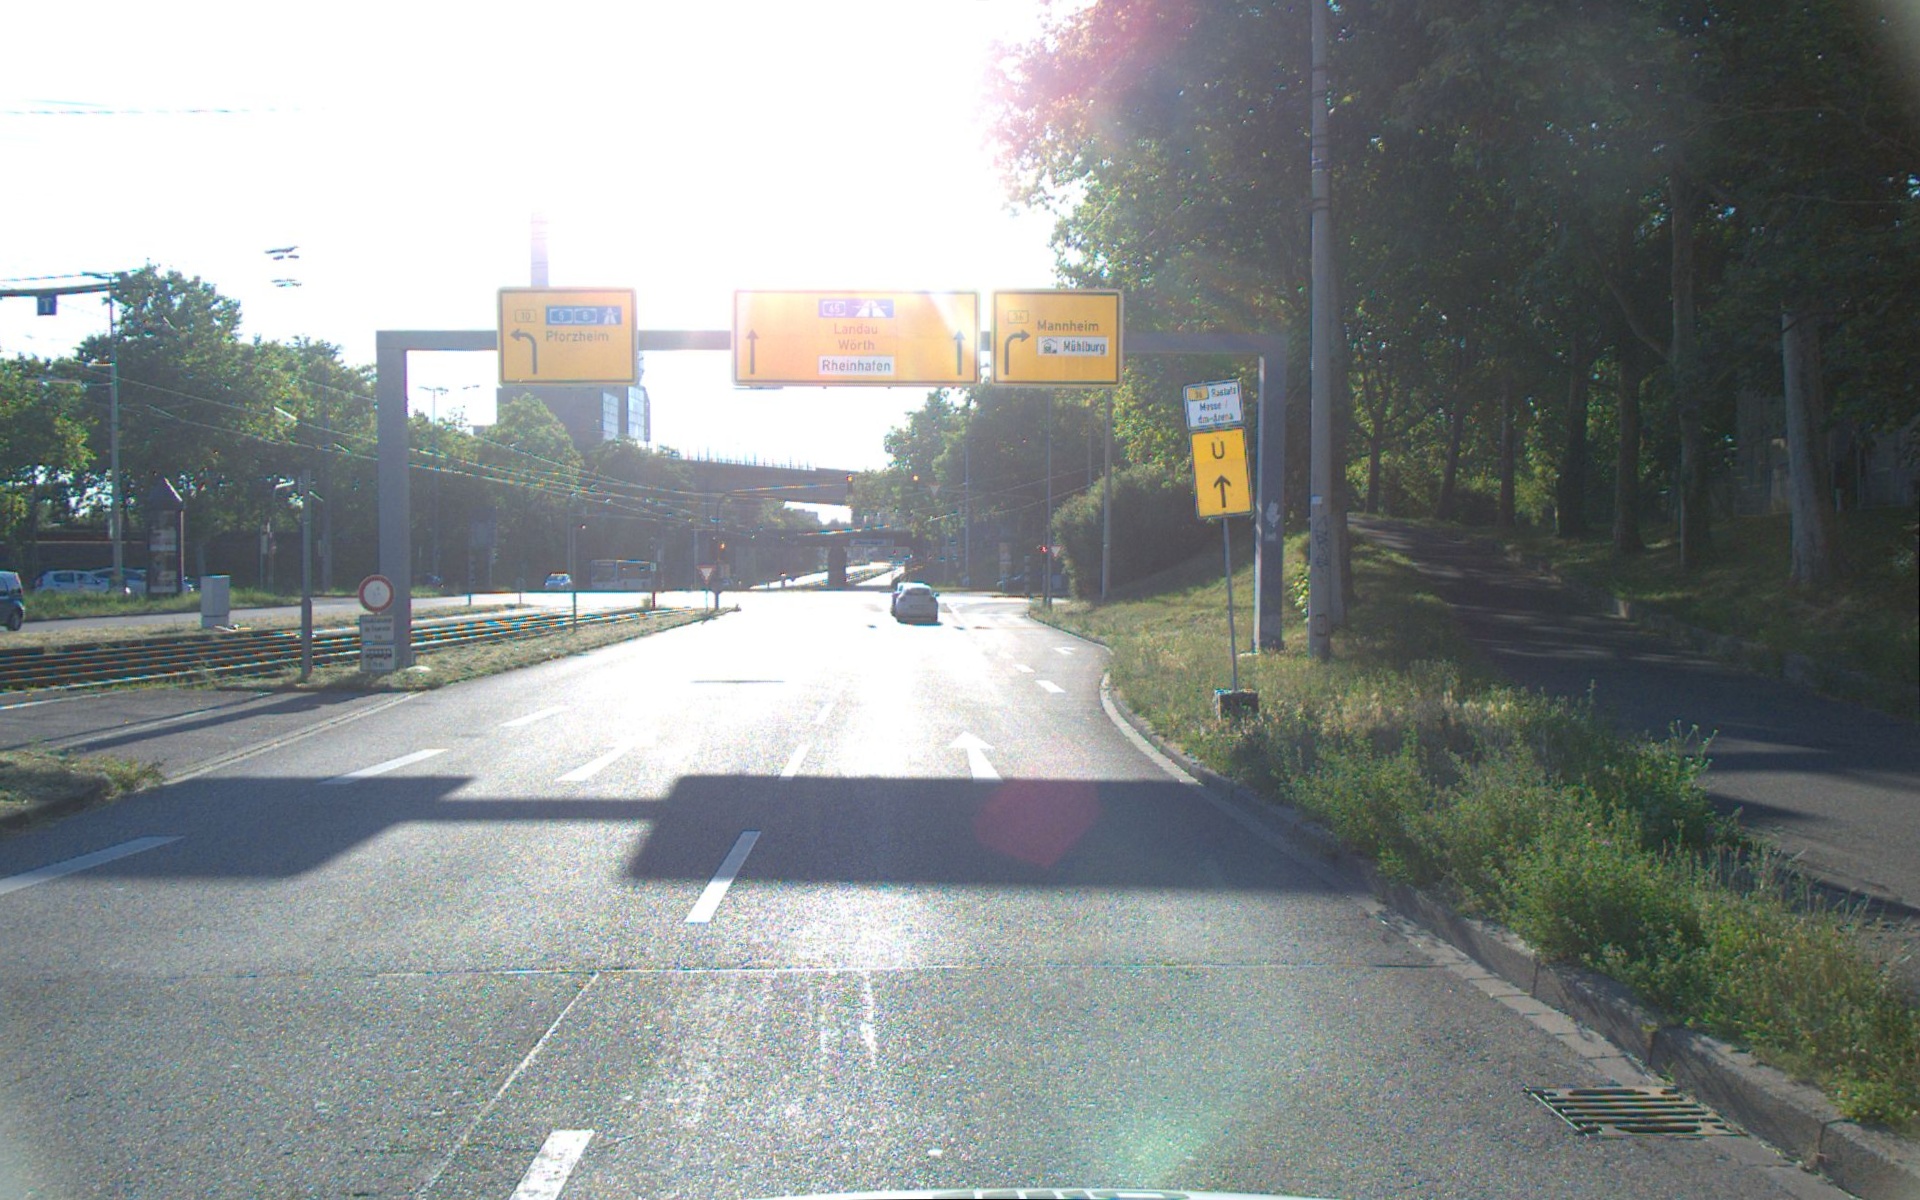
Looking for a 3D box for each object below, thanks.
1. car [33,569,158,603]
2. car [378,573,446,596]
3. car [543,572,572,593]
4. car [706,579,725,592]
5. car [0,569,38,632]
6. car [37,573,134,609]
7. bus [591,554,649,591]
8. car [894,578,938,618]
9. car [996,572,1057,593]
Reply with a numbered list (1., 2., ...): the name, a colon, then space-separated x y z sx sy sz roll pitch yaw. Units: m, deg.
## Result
1. car: -41.941 -0.688 80.366 5.282 1.602 1.727 0 1 -26
2. car: -36.689 -1.047 110.817 3.905 1.531 1.742 0 1 0
3. car: -31.763 -1.396 130.613 1.575 1.538 4.006 1 1 -3
4. car: -28.377 -1.725 191.844 1.574 1.443 4.008 1 1 0
5. car: -28.805 0.036 47.774 1.893 1.818 4.260 0 1 1
6. car: -40.719 -0.425 77.116 3.941 1.602 1.678 0 1 -28
7. bus: -31.387 -2.443 153.286 2.491 3.184 12.919 0 0 1
8. car: -1.841 -0.117 67.743 1.702 1.531 3.998 0 1 -3
9. car: 5.248 -1.364 130.567 4.506 1.602 1.685 1 1 -19
